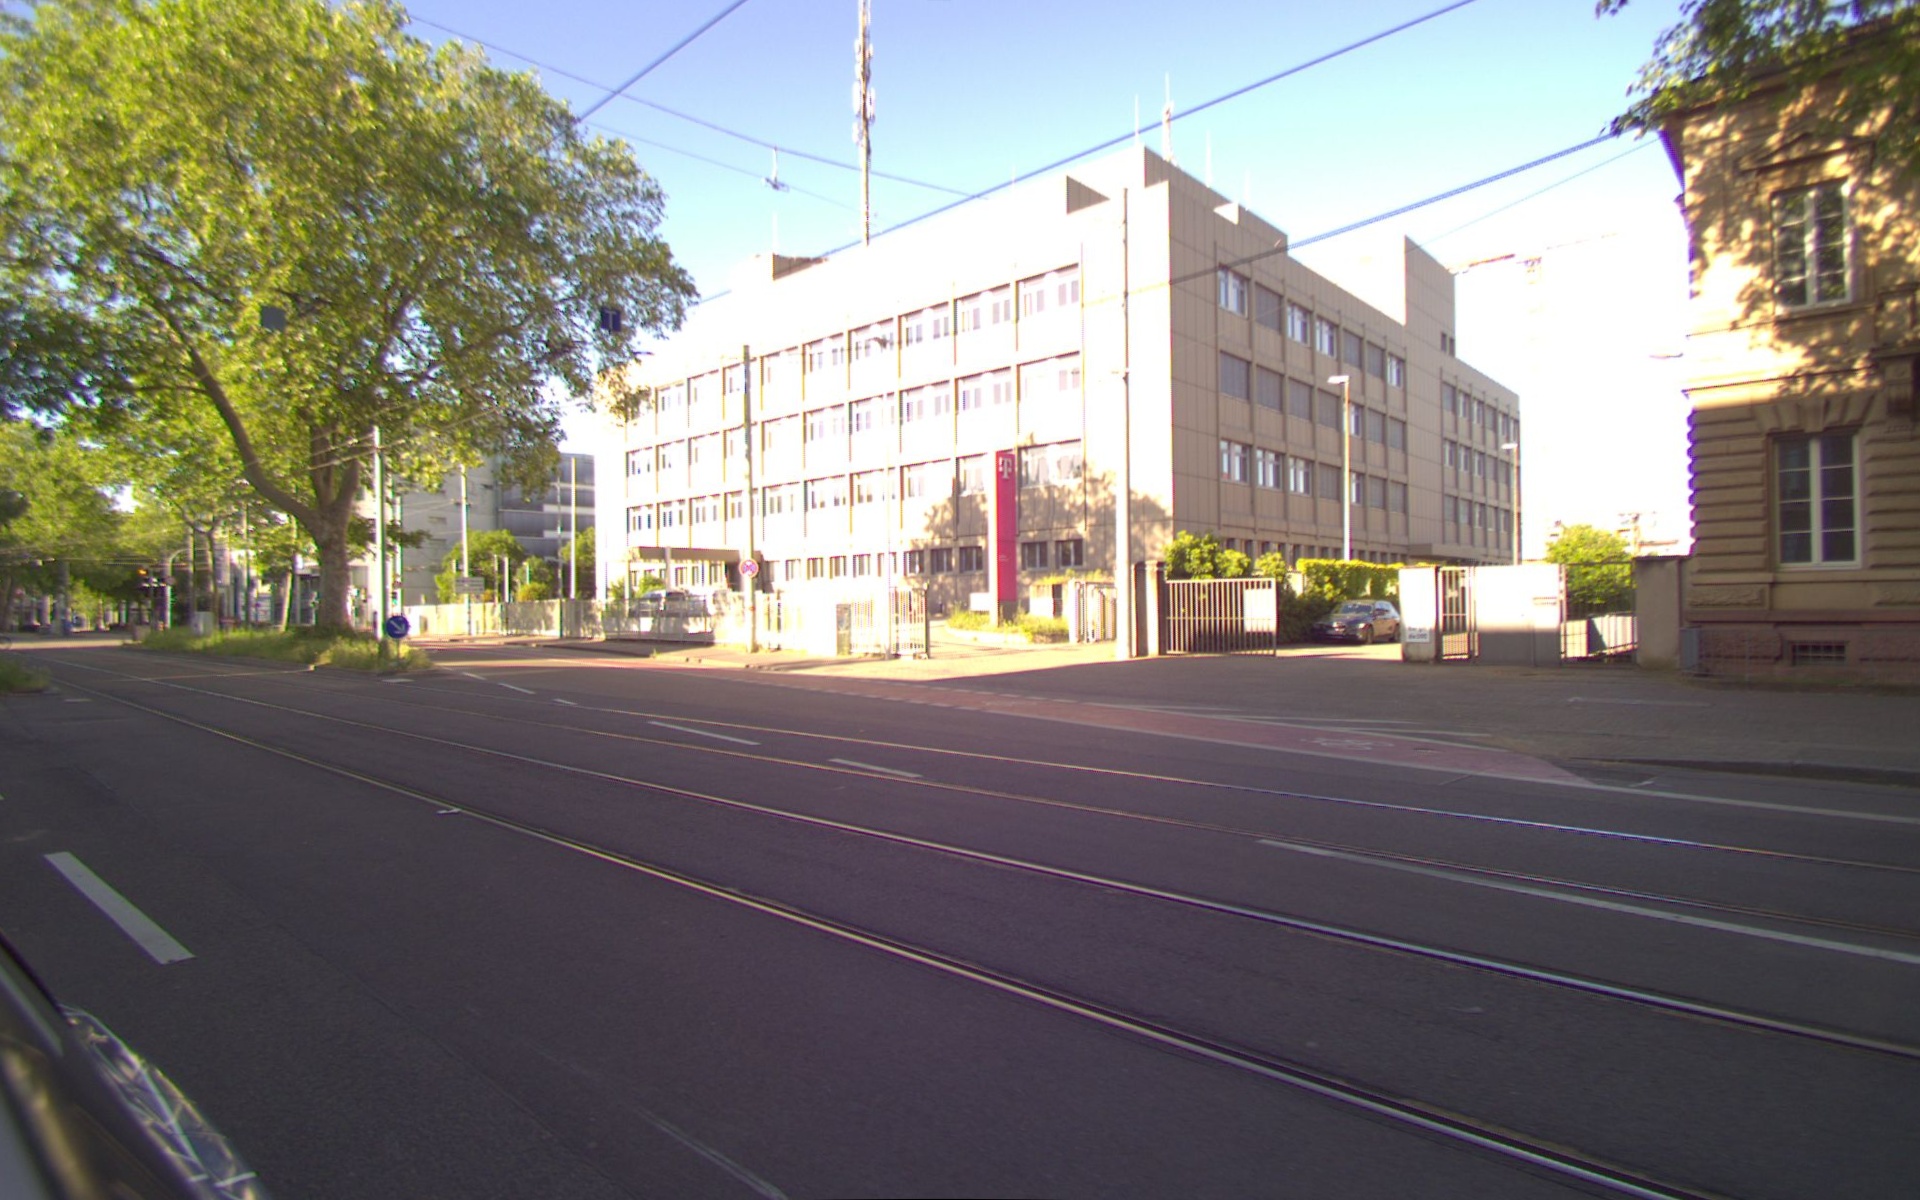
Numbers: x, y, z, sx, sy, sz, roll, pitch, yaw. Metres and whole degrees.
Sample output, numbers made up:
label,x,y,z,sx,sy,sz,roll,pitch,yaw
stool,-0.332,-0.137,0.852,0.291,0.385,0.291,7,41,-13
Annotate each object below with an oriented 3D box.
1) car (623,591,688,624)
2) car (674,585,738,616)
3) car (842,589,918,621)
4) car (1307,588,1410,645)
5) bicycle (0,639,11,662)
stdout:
label,x,y,z,sx,sy,sz,roll,pitch,yaw
car,-17.858,0.444,59.303,3.999,1.831,1.828,-1,0,42
car,-15.349,0.057,61.142,3.999,1.765,1.828,-1,0,42
car,-4.552,0.293,58.047,1.853,1.732,4.223,-1,0,41
car,13.260,0.505,33.519,1.853,1.732,4.223,-1,0,41
bicycle,-49.399,2.595,51.119,0.759,1.137,2.058,-1,0,37
